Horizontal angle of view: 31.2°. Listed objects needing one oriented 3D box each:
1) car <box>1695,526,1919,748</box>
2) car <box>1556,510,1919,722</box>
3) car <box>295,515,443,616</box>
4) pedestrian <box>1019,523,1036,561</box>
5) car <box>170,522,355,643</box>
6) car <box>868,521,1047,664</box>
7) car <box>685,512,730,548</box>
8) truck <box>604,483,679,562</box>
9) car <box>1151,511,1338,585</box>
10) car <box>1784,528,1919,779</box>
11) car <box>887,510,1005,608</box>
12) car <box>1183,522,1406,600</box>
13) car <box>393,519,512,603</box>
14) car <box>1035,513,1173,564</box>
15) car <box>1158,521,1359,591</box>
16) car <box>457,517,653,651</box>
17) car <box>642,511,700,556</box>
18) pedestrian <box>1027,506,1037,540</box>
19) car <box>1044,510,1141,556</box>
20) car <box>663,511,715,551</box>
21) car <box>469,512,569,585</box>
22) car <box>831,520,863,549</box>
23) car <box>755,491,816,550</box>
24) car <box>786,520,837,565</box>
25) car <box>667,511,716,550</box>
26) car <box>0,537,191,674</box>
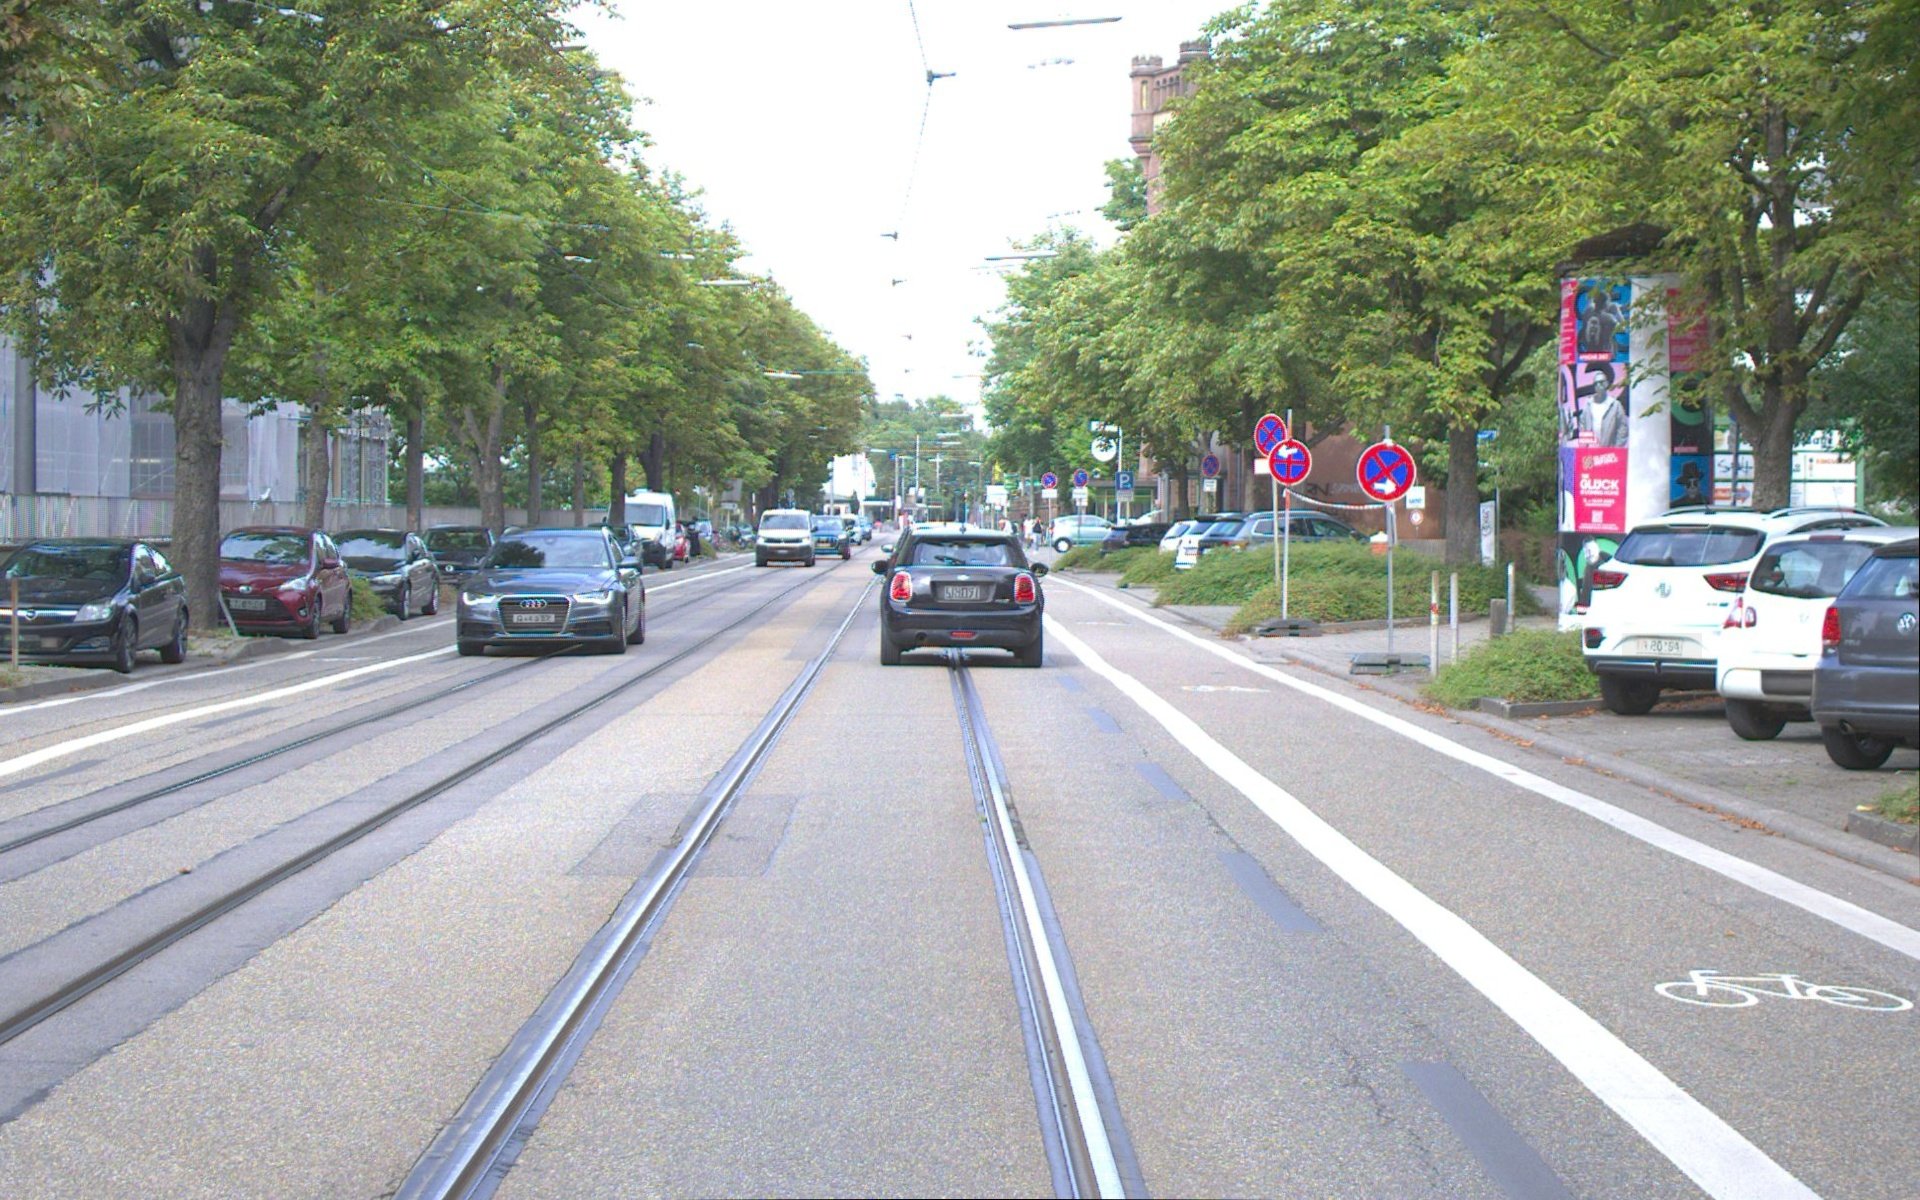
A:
[{"bbox_3d":[6.887,0.215,24.139,3.437,1.437,1.560,0,2,-39],"label":"car"},{"bbox_3d":[6.462,0.091,27.210,3.437,1.567,1.560,0,2,-39],"label":"car"},{"bbox_3d":[-9.635,-0.596,56.312,1.802,1.578,4.032,-1,1,-1],"label":"car"},{"bbox_3d":[2.956,-2.564,150.618,0.726,1.640,0.766,1,1,1],"label":"pedestrian"},{"bbox_3d":[-9.568,-0.281,47.445,1.802,1.578,4.032,-1,1,-1],"label":"car"},{"bbox_3d":[-0.073,-0.121,37.005,1.793,1.418,4.001,1,1,-1],"label":"car"},{"bbox_3d":[-11.301,-3.152,153.948,1.802,1.578,4.032,-1,1,-1],"label":"car"},{"bbox_3d":[-10.228,-2.494,110.714,2.071,2.462,4.899,-1,1,-1],"label":"truck"},{"bbox_3d":[6.453,-1.182,78.145,3.986,1.622,1.885,1,1,-3],"label":"car"},{"bbox_3d":[6.816,0.299,21.047,3.525,1.437,1.623,0,2,-39],"label":"car"},{"bbox_3d":[-0.249,-0.688,55.724,1.793,1.465,4.000,2,1,-1],"label":"car"},{"bbox_3d":[6.376,-0.751,65.843,3.986,1.420,1.885,1,1,-3],"label":"car"},{"bbox_3d":[-9.865,-0.785,67.044,1.802,1.578,4.032,-1,1,-1],"label":"car"},{"bbox_3d":[4.334,-1.863,103.757,3.986,1.503,1.885,1,1,-3],"label":"car"},{"bbox_3d":[6.291,-0.939,72.742,3.986,1.420,1.885,1,1,-3],"label":"car"},{"bbox_3d":[-4.651,-0.228,40.030,1.834,1.443,4.554,1,1,-1],"label":"car"},{"bbox_3d":[-10.348,-2.394,123.202,1.802,1.578,4.032,-1,1,-1],"label":"car"},{"bbox_3d":[4.238,-4.552,203.144,0.518,2.007,0.480,1,1,3],"label":"pedestrian"},{"bbox_3d":[5.755,-2.911,149.945,3.986,1.904,2.000,1,1,-3],"label":"car"},{"bbox_3d":[-10.736,-2.741,136.296,1.802,1.578,4.032,-1,1,-1],"label":"car"},{"bbox_3d":[-9.876,-1.178,77.276,1.802,1.578,4.032,-1,1,-1],"label":"car"},{"bbox_3d":[-6.469,-3.763,197.357,1.802,1.616,4.485,-1,1,-1],"label":"car"},{"bbox_3d":[-5.576,-2.549,110.139,1.802,1.817,4.485,-1,1,-1],"label":"car"},{"bbox_3d":[-5.570,-2.179,129.487,1.802,1.616,4.485,-1,1,-1],"label":"car"},{"bbox_3d":[-11.079,-2.879,142.199,1.802,1.578,4.032,-1,1,-1],"label":"car"},{"bbox_3d":[-9.601,0.027,37.055,1.802,1.369,4.032,-1,1,-1],"label":"car"}]
